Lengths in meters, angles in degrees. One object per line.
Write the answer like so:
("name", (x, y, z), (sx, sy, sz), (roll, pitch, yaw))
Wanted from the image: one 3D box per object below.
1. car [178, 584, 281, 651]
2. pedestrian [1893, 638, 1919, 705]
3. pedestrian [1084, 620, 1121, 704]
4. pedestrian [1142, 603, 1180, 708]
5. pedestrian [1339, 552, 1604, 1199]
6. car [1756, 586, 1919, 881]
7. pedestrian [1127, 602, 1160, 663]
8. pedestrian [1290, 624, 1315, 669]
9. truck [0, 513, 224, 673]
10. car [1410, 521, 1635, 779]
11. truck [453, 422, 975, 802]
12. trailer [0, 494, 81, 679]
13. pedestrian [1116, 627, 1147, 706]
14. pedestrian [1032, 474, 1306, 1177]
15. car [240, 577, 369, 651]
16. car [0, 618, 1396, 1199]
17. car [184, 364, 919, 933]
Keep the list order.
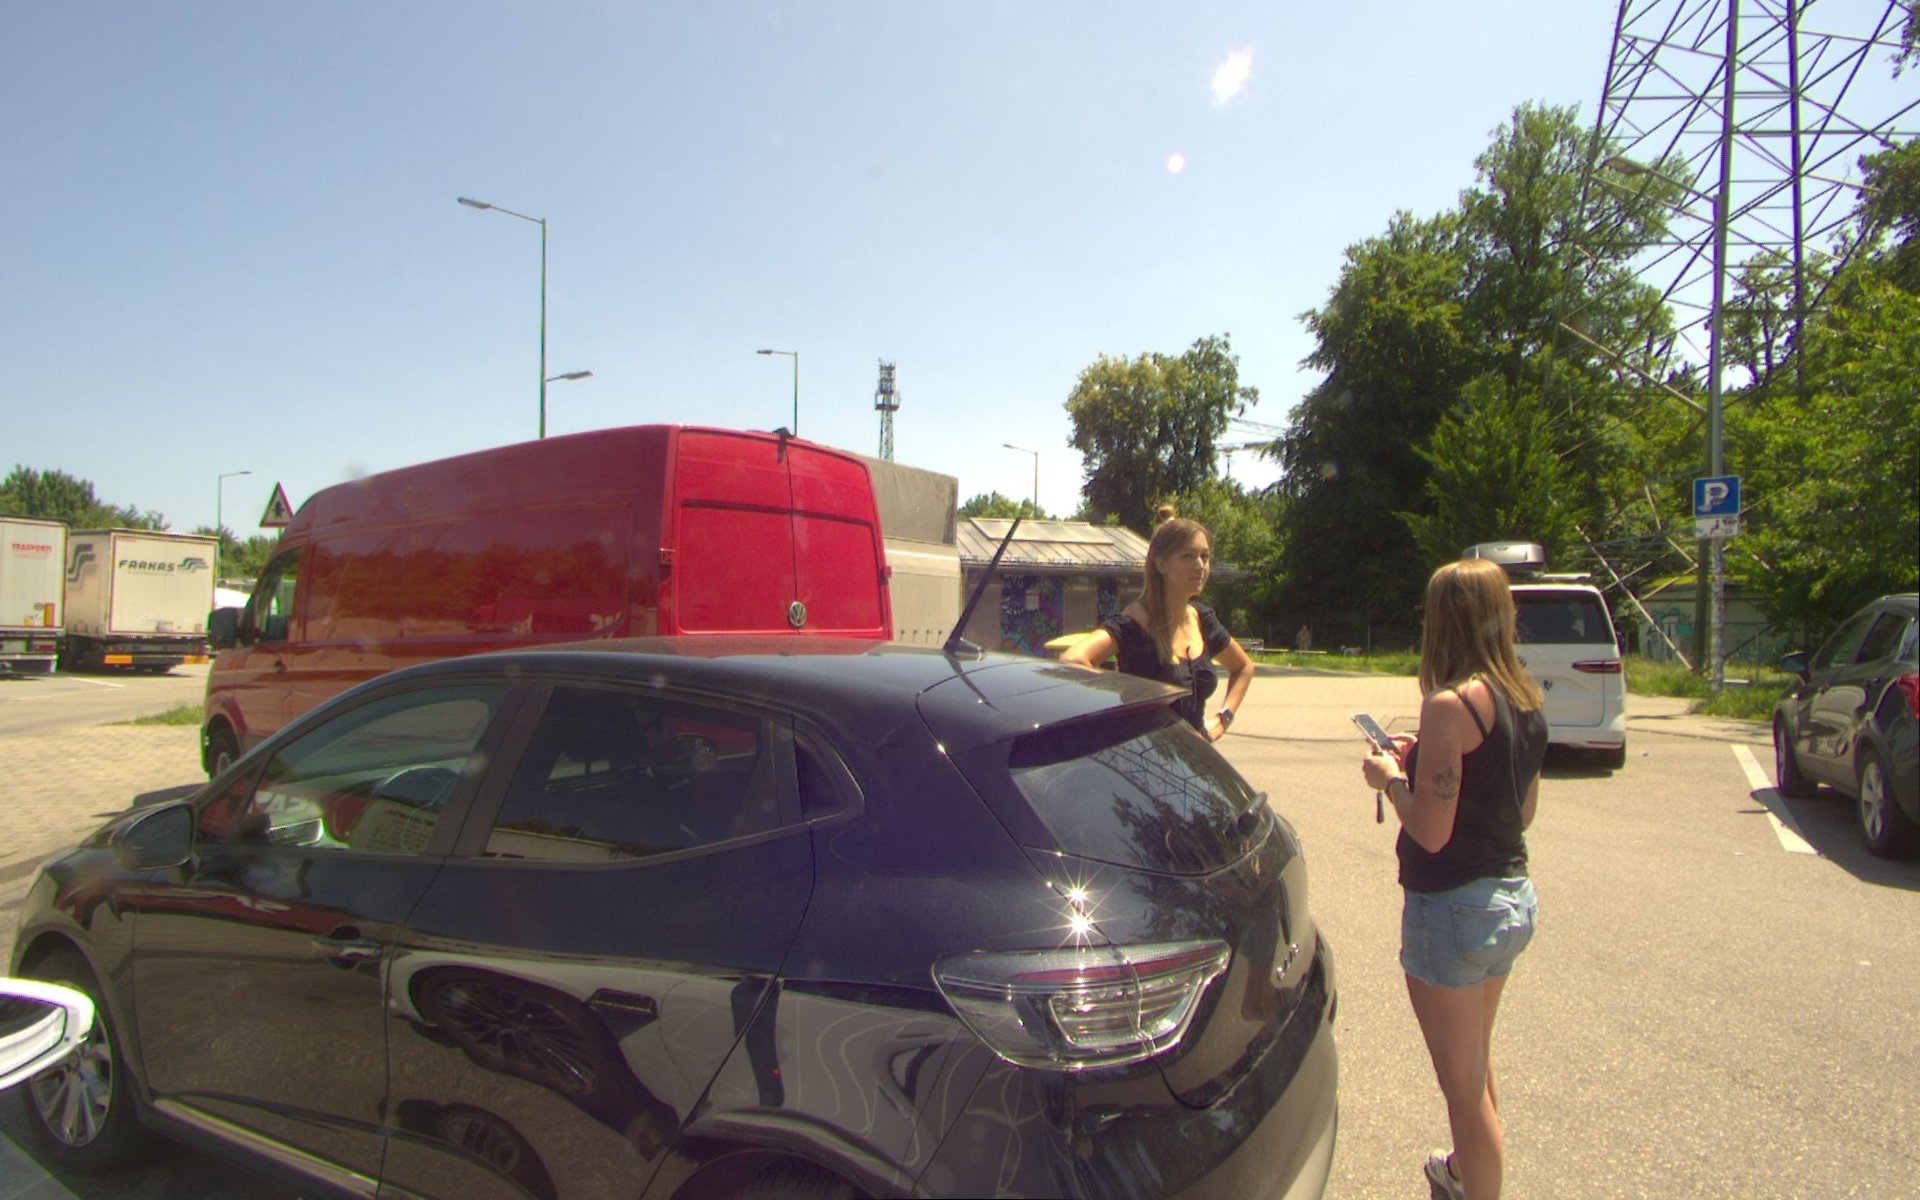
("car", (-29.926, 0.759, 41.014), (3.943, 2.632, 2.111), (-1, -2, 32))
("pedestrian", (17.250, 1.268, 17.813), (0.694, 1.178, 0.787), (-1, -1, 22))
("pedestrian", (2.570, 1.100, 18.017), (0.521, 1.478, 0.576), (0, 0, 23))
("pedestrian", (3.519, 0.957, 17.530), (0.520, 1.783, 0.651), (0, 0, 23))
("pedestrian", (1.164, 0.719, 2.295), (0.478, 1.615, 0.501), (0, 0, 29))
("car", (7.067, 0.796, 6.928), (1.811, 1.638, 4.150), (0, -1, 30))
("pedestrian", (5.811, 1.038, 31.737), (0.762, 1.903, 0.840), (0, -1, -11))
("pedestrian", (15.918, 2.156, 46.526), (0.955, 2.039, 0.829), (0, -1, 10))
("truck", (-27.067, -0.022, 31.174), (11.800, 4.279, 2.582), (-1, -2, 32))
("car", (6.670, 0.530, 11.990), (1.901, 2.401, 4.954), (1, -1, 29))
("truck", (-2.509, 0.176, 9.926), (4.751, 2.863, 2.514), (-1, -2, 34))
("trailer", (-28.656, -0.339, 27.897), (12.642, 4.510, 2.677), (0, -1, 32))
("pedestrian", (3.040, 1.171, 17.764), (0.439, 1.362, 0.477), (0, 0, 23))
("pedestrian", (0.693, 0.617, 3.193), (0.481, 1.884, 0.906), (0, -1, 39))
("car", (-29.456, 0.606, 44.931), (6.259, 3.114, 2.495), (0, -1, 32))
("car", (-0.818, 0.822, 2.785), (3.628, 1.476, 1.776), (-1, -2, 27))
("car", (-3.387, 0.254, 7.366), (6.298, 2.668, 1.988), (0, -1, 36))
